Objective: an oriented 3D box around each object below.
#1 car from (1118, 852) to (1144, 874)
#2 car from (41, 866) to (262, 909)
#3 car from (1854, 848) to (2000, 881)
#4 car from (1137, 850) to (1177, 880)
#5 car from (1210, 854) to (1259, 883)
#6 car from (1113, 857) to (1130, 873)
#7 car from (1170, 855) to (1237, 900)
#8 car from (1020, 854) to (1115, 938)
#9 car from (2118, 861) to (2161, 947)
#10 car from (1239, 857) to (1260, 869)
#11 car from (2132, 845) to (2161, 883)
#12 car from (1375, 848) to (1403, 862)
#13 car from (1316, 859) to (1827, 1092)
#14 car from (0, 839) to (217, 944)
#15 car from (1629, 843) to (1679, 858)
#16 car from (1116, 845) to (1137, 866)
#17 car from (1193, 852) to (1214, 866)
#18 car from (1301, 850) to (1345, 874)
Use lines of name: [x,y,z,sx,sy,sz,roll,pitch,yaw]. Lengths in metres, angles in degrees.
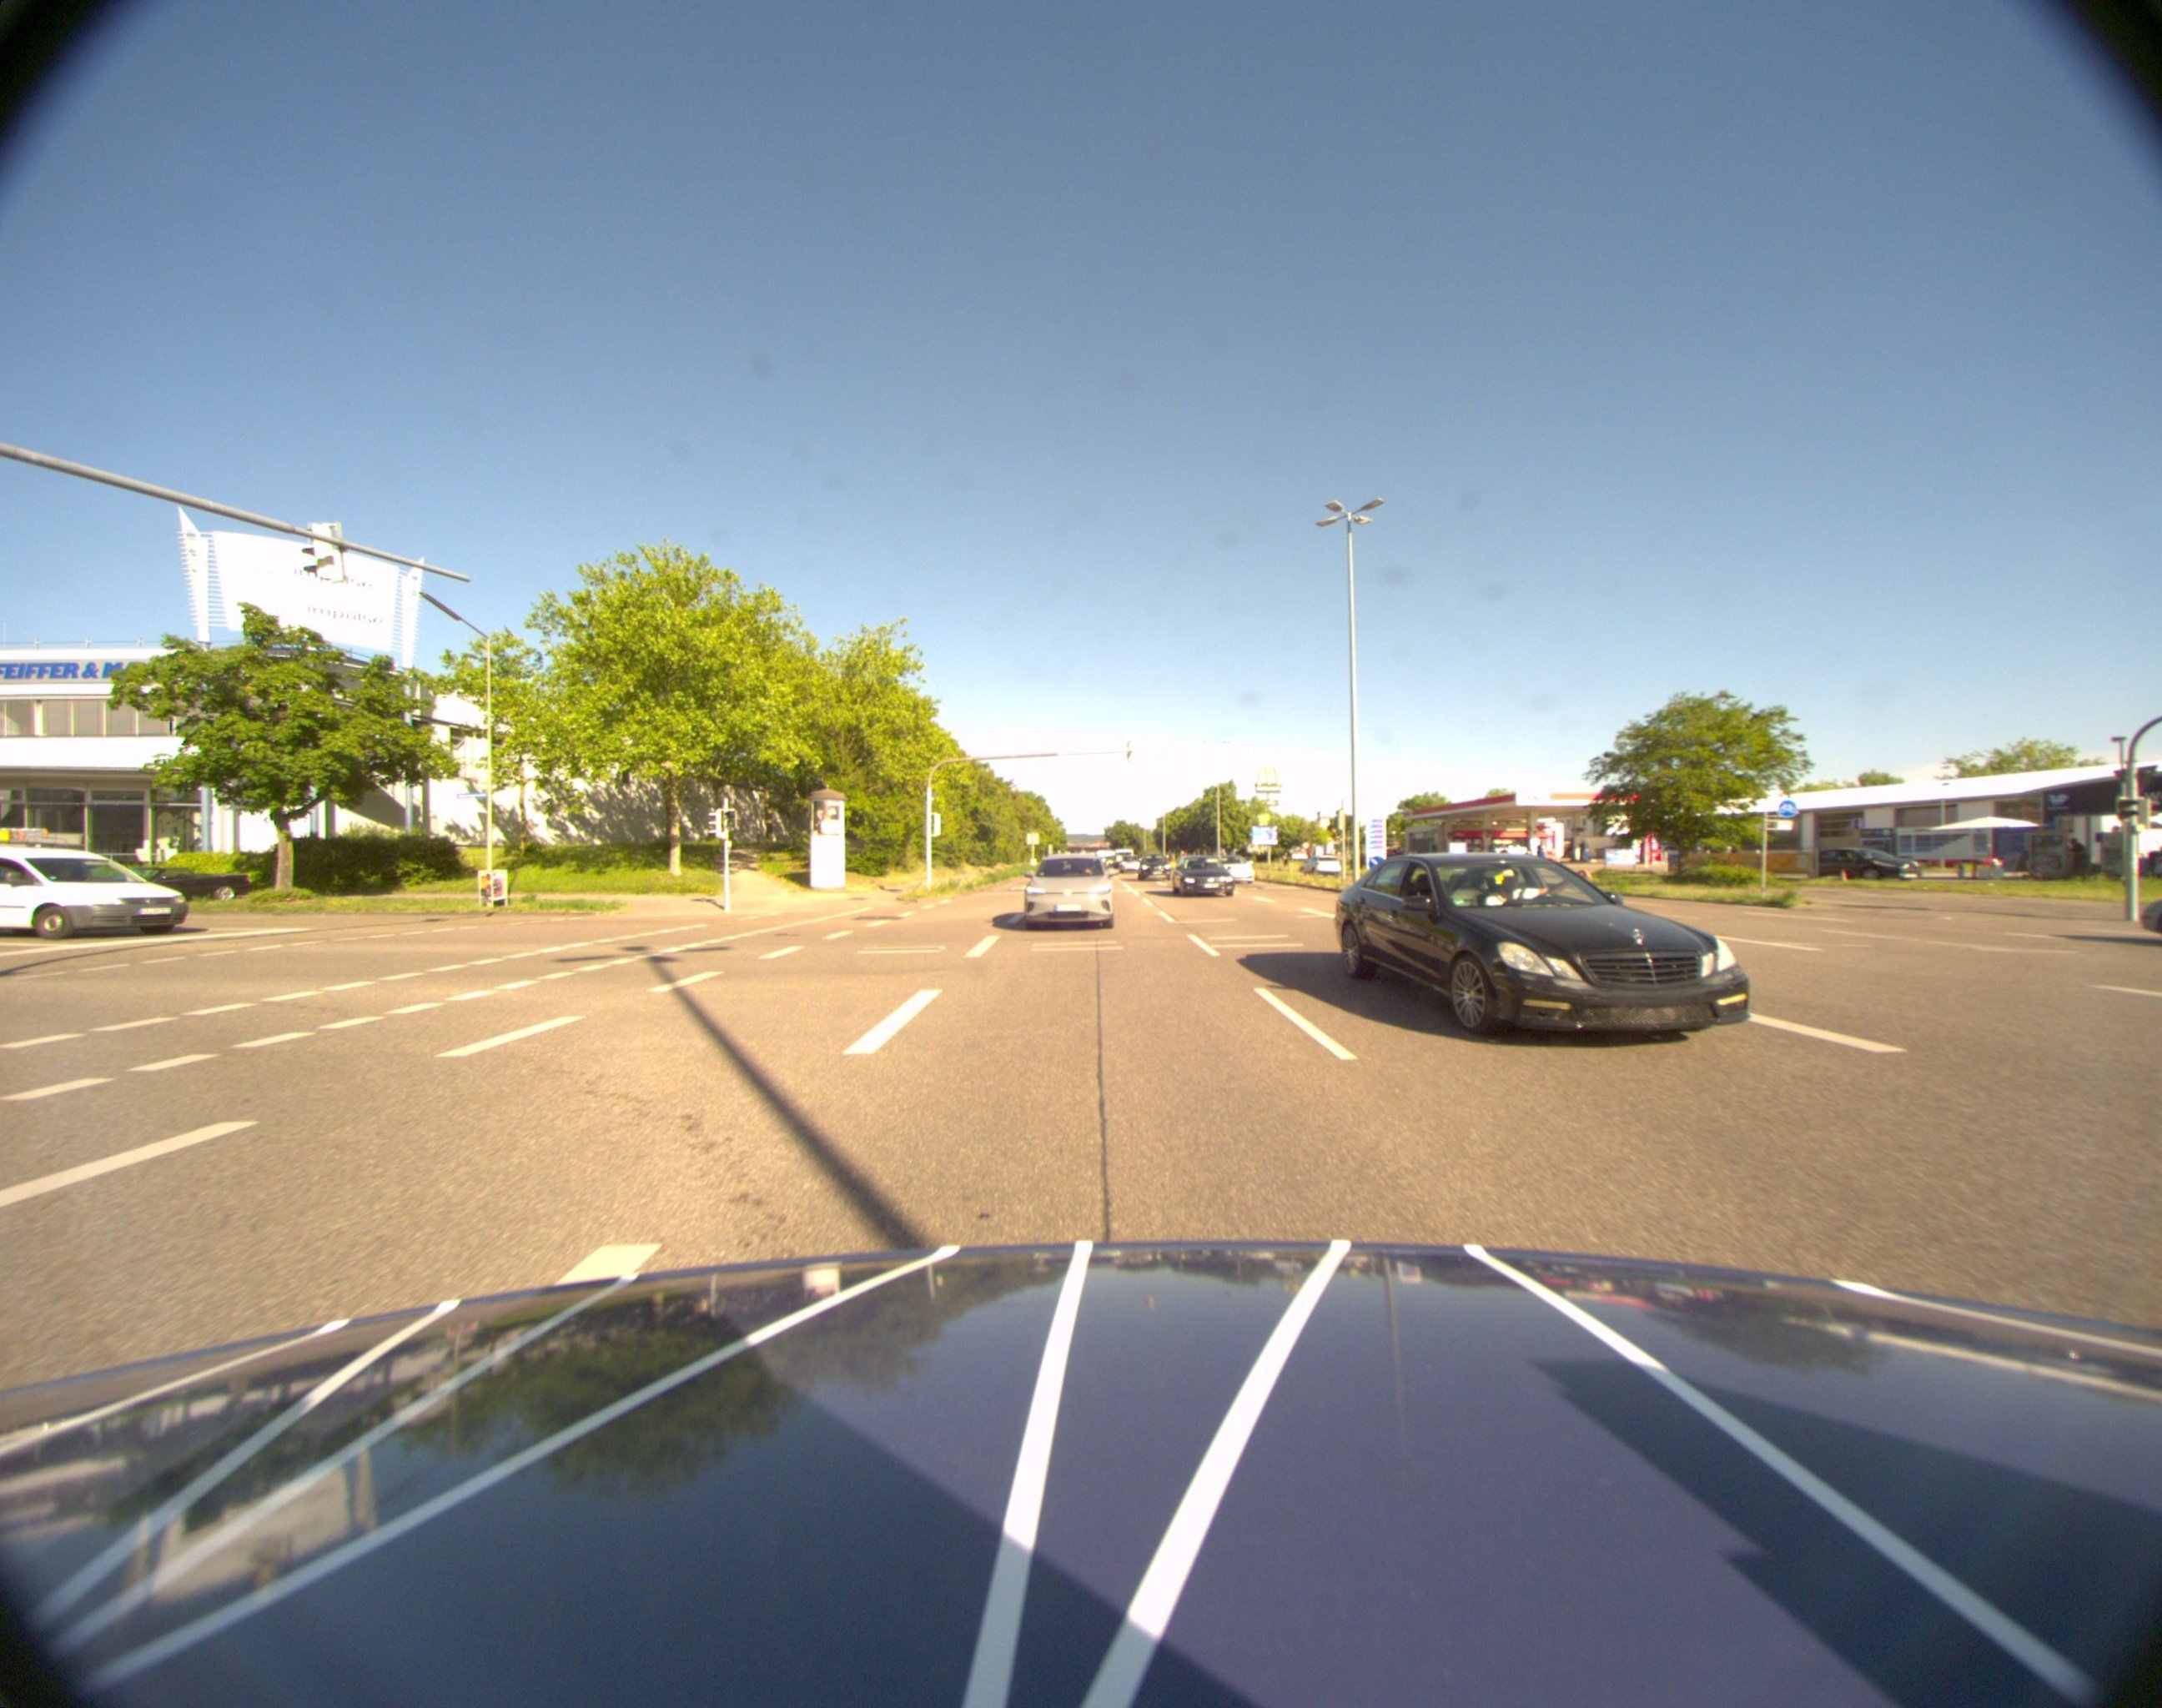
car: [4.354,0.774,66.667,1.998,1.779,4.270,-2,0,1]
car: [-29.486,1.007,24.373,1.721,1.117,4.361,-1,0,-1]
car: [37.673,0.427,34.005,1.900,1.317,4.119,1,0,-1]
car: [4.541,0.638,46.262,1.998,1.674,4.696,-2,0,1]
car: [7.985,0.708,39.857,1.790,1.447,4.116,0,0,1]
car: [5.301,1.409,100.546,1.998,2.002,4.000,-2,0,1]
car: [4.423,0.808,28.094,1.848,1.445,4.265,-1,0,1]
car: [-0.222,0.838,17.253,1.848,1.615,4.265,-1,0,1]
car: [19.956,0.864,11.801,1.998,1.516,4.196,0,0,1]
car: [20.676,1.082,93.549,1.699,1.424,4.458,1,0,1]
car: [42.892,0.414,28.526,4.116,1.424,1.901,1,1,1]
car: [38.776,0.099,95.766,1.762,1.604,4.119,1,1,-1]
car: [4.030,0.833,7.526,1.964,1.474,4.918,-1,0,1]
car: [-20.450,0.712,14.995,4.692,1.923,1.872,-1,1,2]
car: [56.375,-0.369,74.810,1.772,1.432,4.119,0,0,-1]
car: [5.106,0.118,86.264,2.089,2.229,4.000,-2,1,1]
car: [13.070,0.532,80.959,1.699,1.424,3.664,1,1,1]
car: [17.456,0.548,55.046,1.899,1.590,4.267,1,1,1]
